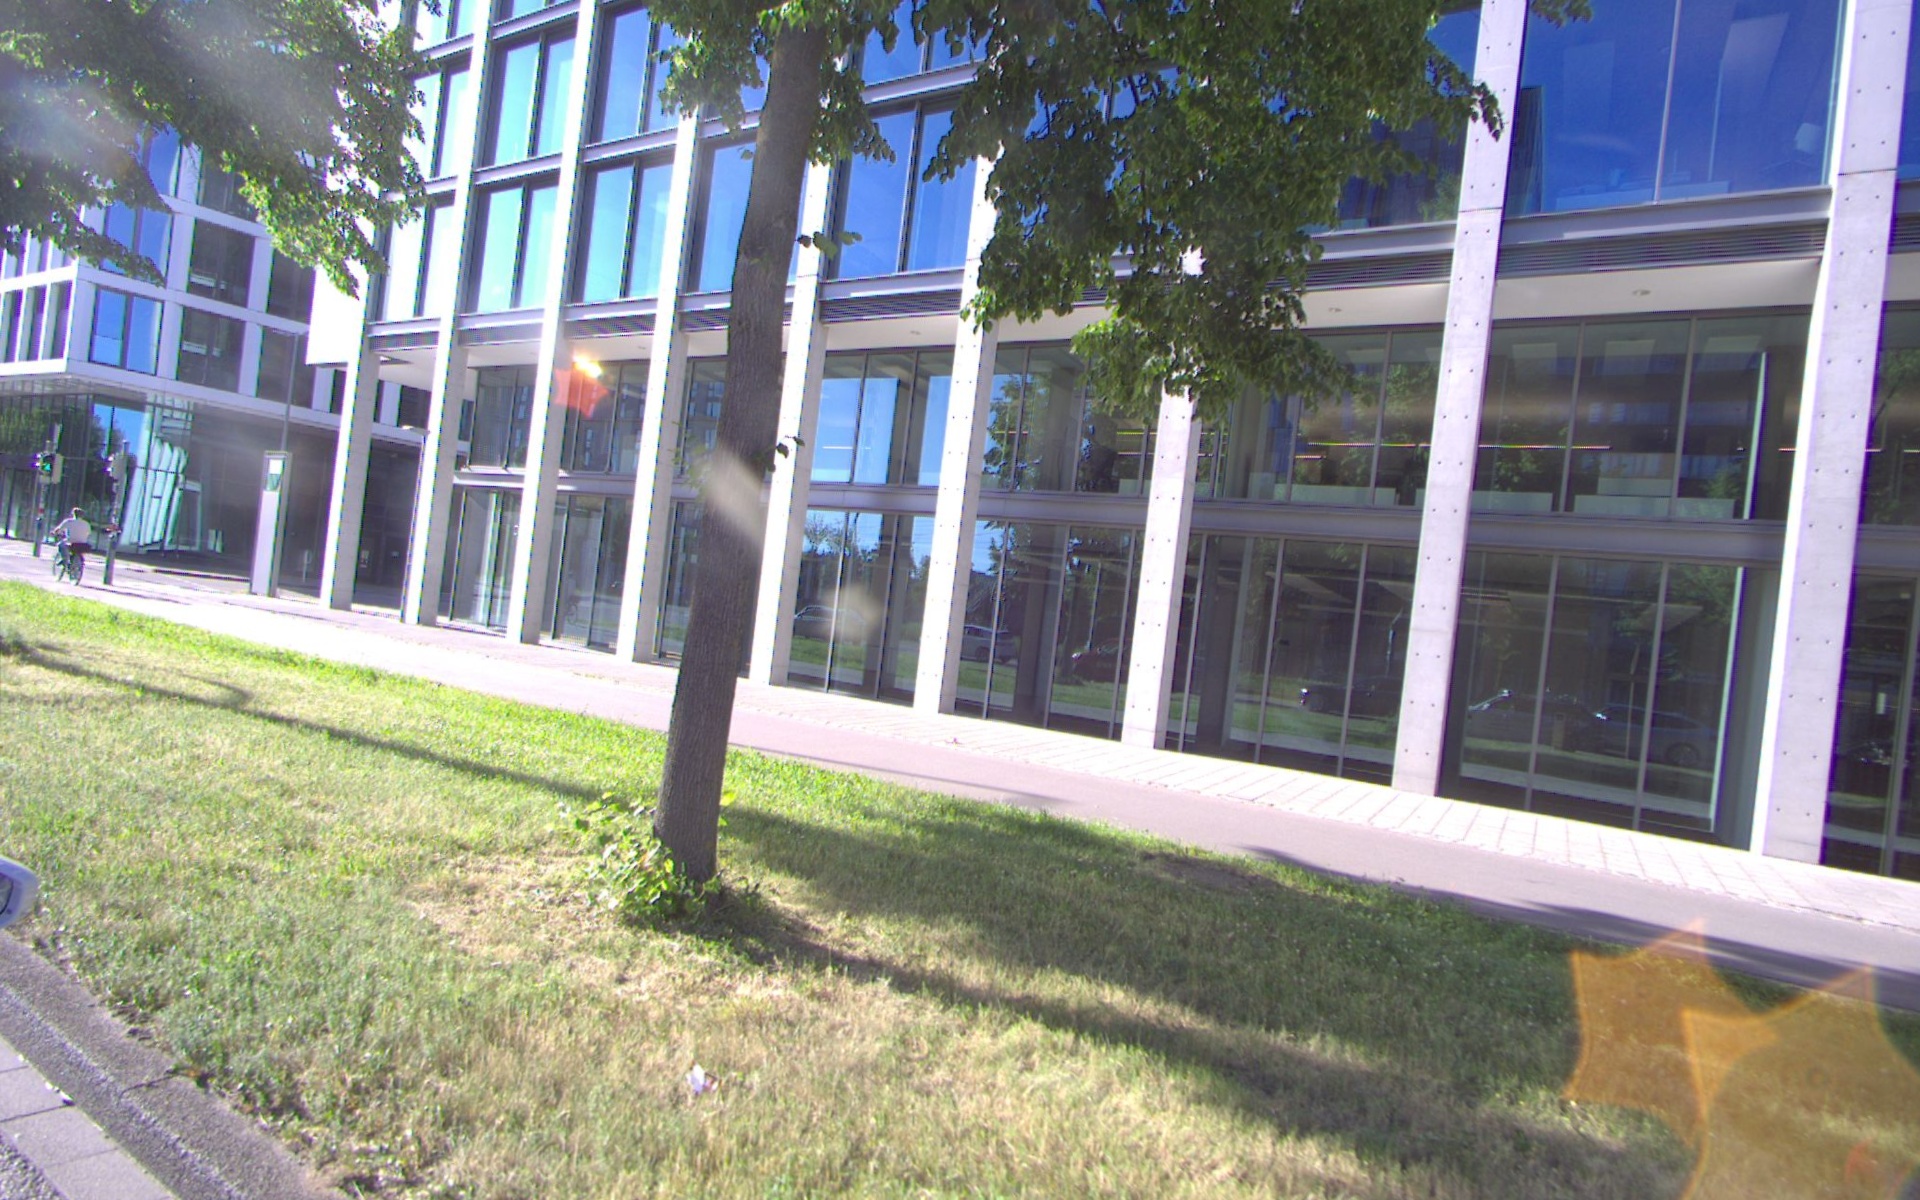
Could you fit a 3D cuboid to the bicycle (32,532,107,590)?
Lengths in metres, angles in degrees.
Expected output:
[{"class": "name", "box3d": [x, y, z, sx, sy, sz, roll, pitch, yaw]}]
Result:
[{"class": "bicycle", "box3d": [-20.717, -0.915, 23.394, 1.929, 1.189, 0.742, 5, 0, 32]}]

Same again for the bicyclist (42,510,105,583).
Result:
[{"class": "bicyclist", "box3d": [-20.583, -1.243, 23.361, 0.835, 1.550, 0.772, 7, 0, 31]}]
